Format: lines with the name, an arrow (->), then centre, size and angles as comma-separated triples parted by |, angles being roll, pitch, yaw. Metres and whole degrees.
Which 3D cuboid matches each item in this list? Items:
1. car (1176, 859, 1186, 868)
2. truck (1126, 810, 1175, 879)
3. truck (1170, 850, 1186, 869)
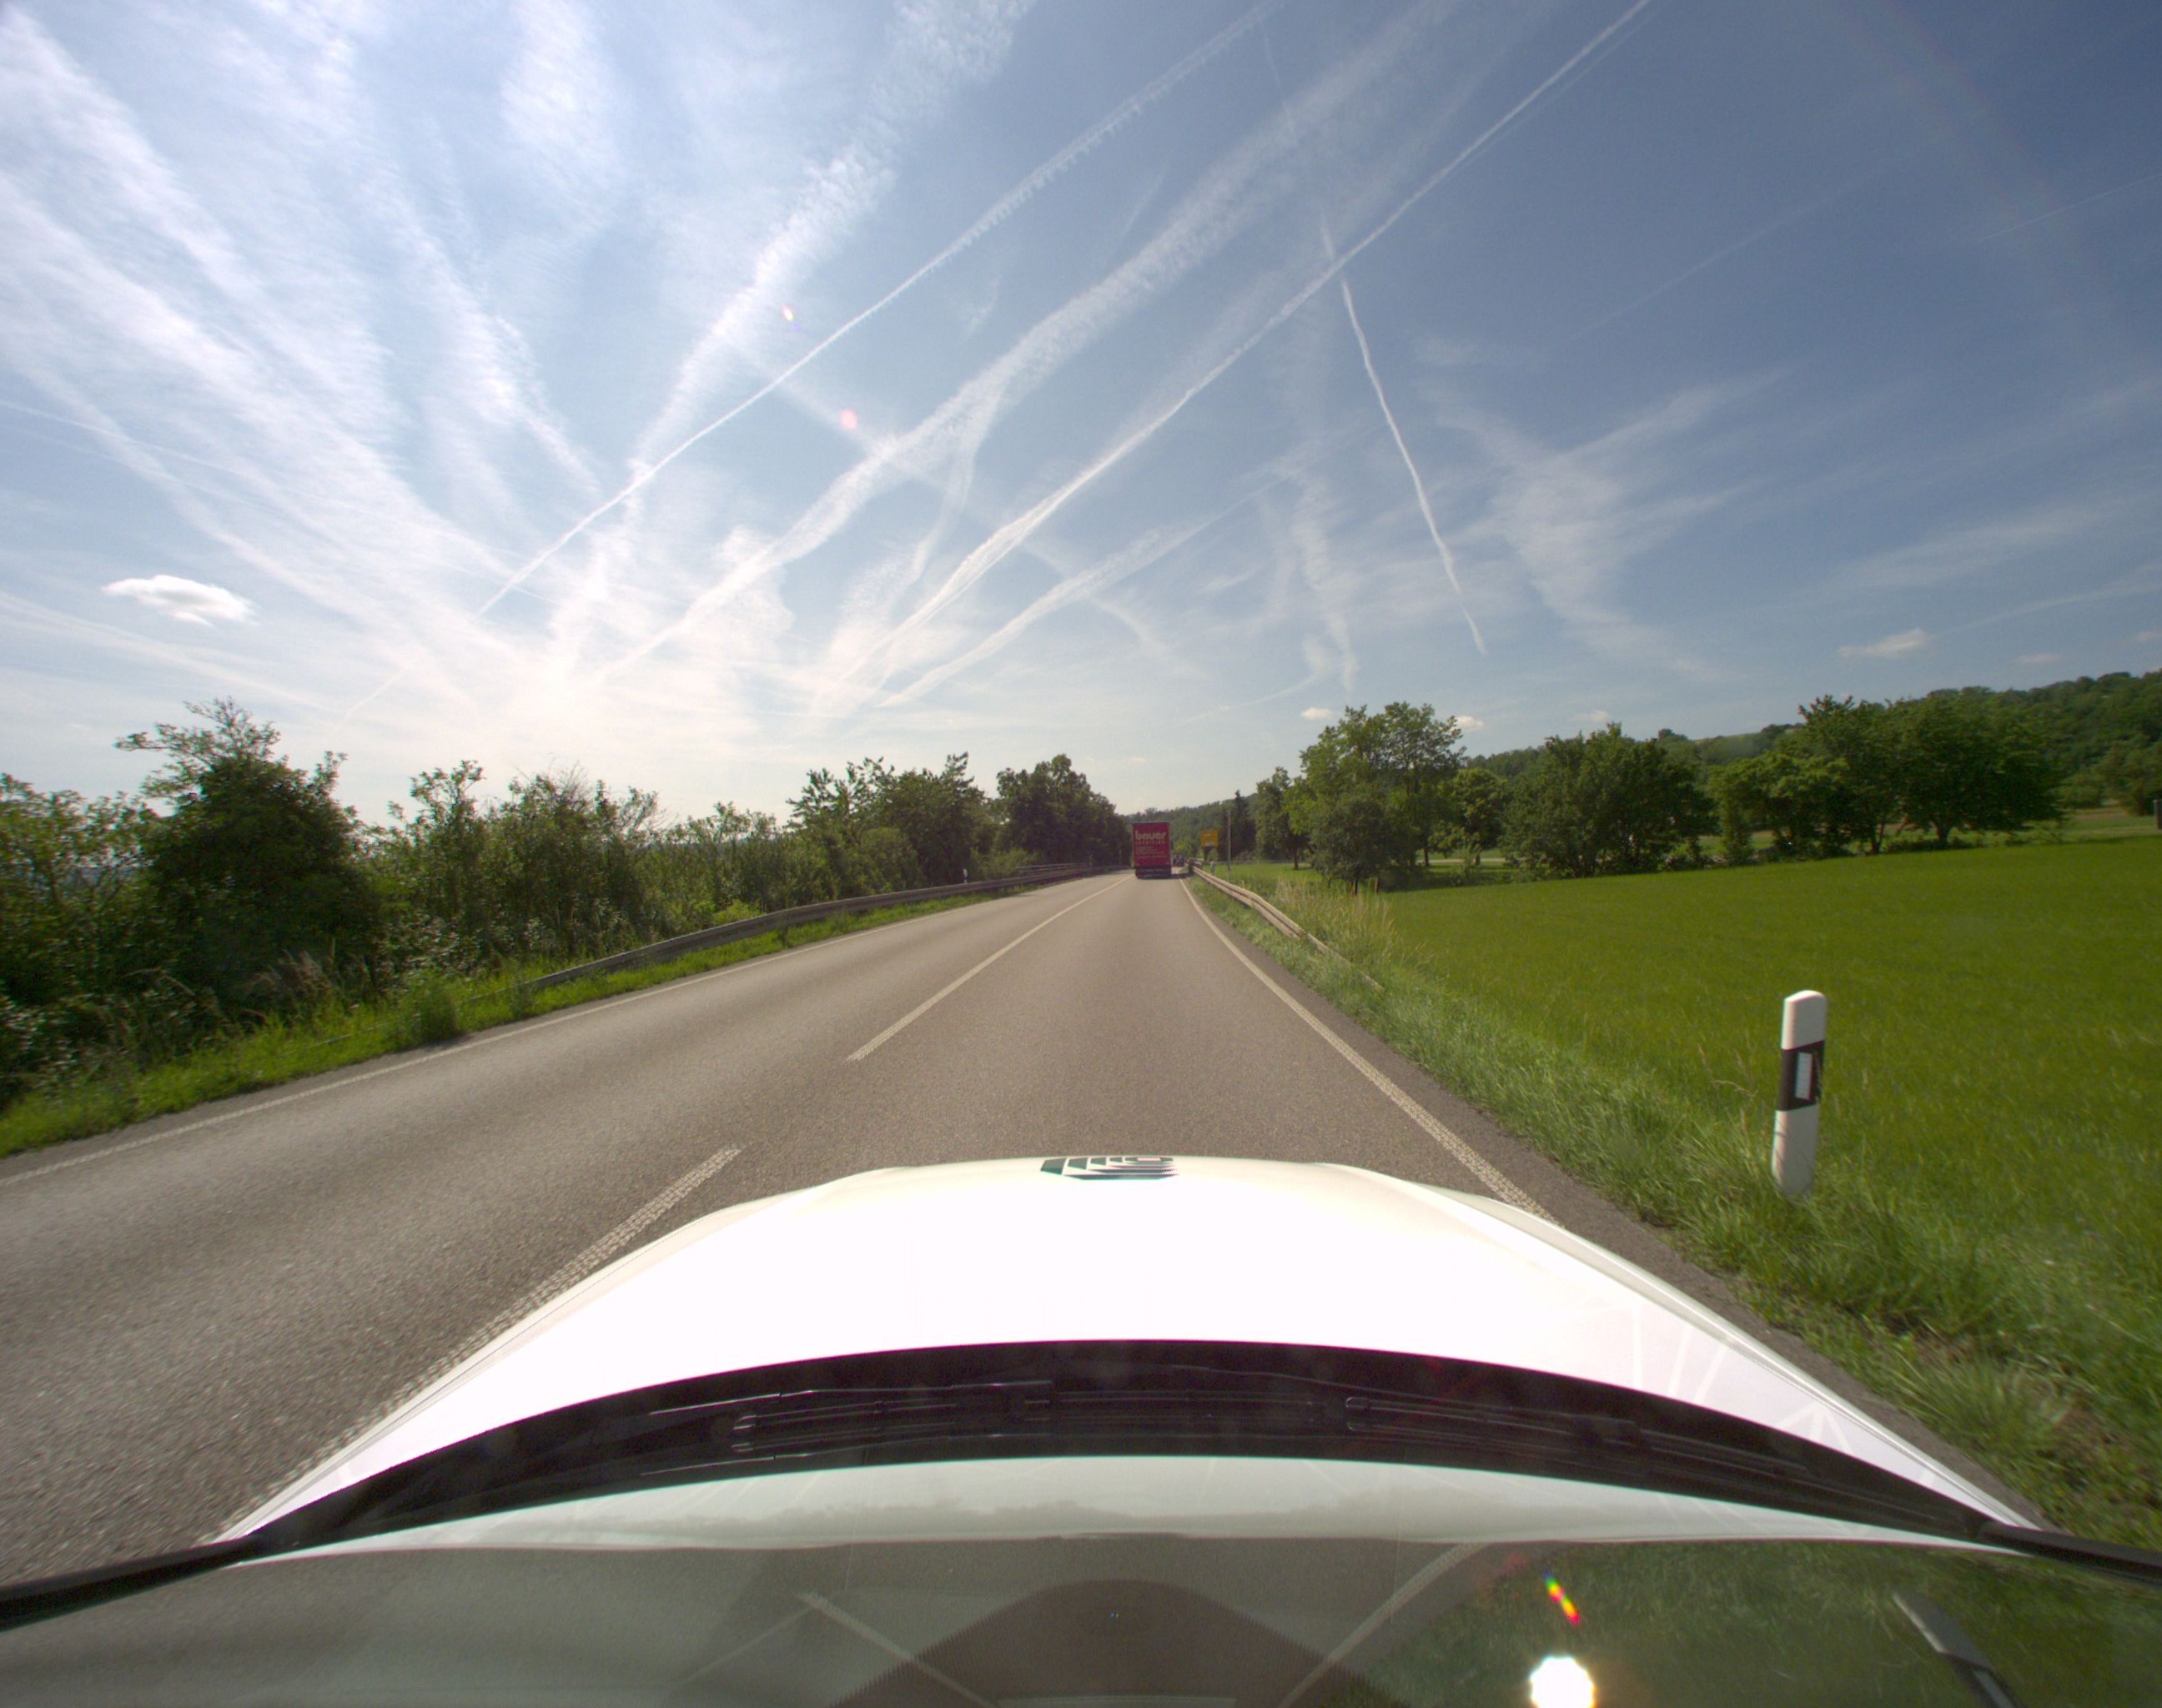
car -> 21.653, 2.158, 176.368 | 1.983, 1.810, 4.007 | 1, -2, 7
truck -> 5.538, -0.613, 62.383 | 3.156, 4.625, 13.568 | -2, 0, 7
truck -> 24.708, 1.473, 207.412 | 3.883, 4.370, 13.319 | 0, -2, 8
